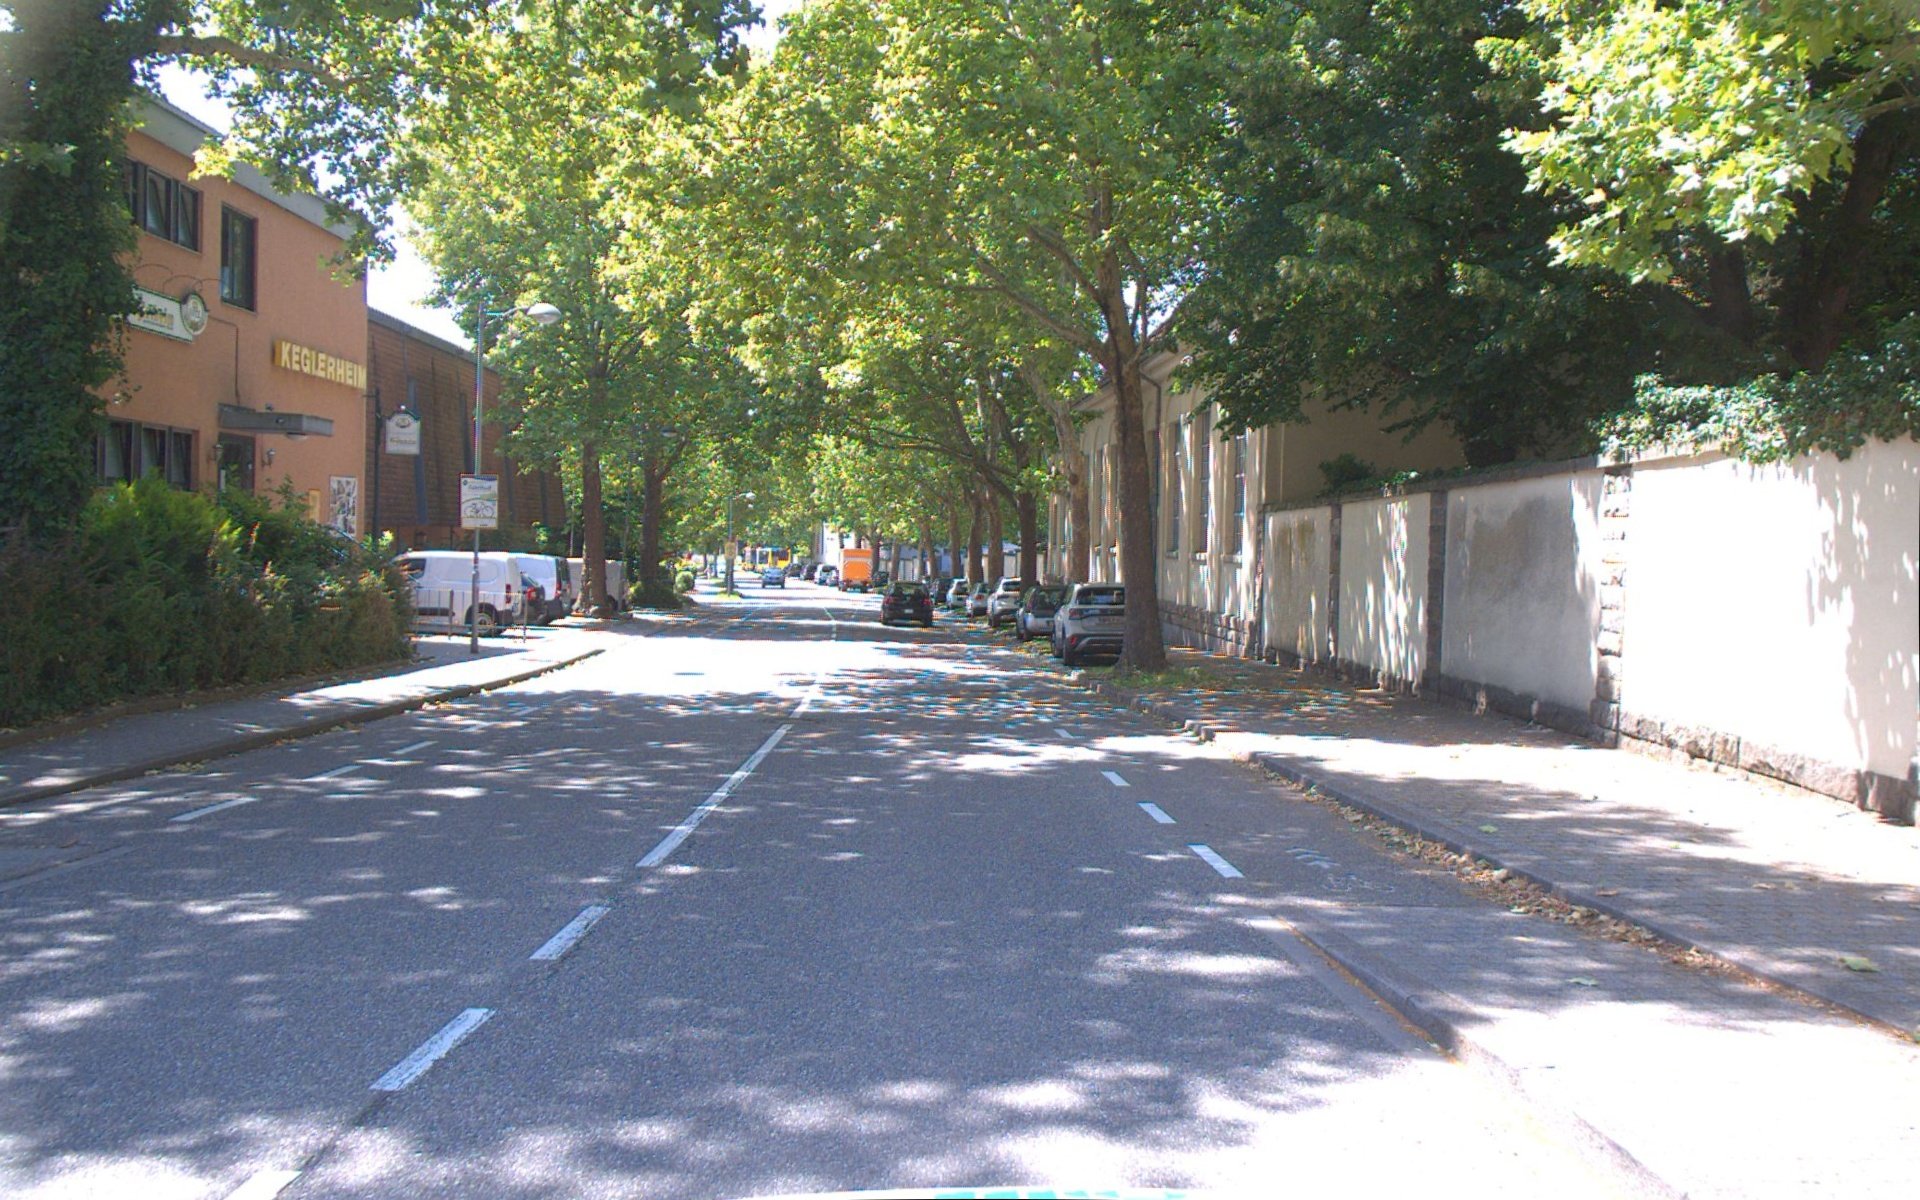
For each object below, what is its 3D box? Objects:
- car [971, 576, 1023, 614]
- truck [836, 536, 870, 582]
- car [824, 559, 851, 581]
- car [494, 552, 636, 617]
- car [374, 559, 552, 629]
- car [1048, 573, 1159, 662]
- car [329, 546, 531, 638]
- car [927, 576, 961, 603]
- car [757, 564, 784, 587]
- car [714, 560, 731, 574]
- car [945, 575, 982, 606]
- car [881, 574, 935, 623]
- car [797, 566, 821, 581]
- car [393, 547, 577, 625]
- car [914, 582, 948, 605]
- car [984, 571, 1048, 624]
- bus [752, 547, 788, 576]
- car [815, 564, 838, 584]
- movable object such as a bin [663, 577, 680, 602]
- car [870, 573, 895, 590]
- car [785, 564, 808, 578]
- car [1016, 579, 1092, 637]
[{"bbox_3d":[1.464,-0.221,67.116,1.732,1.458,3.872,0,1,-4],"label":"car"},{"bbox_3d":[-7.956,-2.973,122.447,2.324,3.189,5.762,1,-1,-5],"label":"truck"},{"bbox_3d":[-10.404,-2.560,140.163,1.845,1.715,3.990,1,-1,-10],"label":"car"},{"bbox_3d":[-12.403,-0.486,52.102,4.049,1.835,1.901,3,0,-6],"label":"car"},{"bbox_3d":[-12.405,-0.155,41.489,3.910,1.541,1.866,3,0,-6],"label":"car"},{"bbox_3d":[2.800,0.290,33.187,1.706,1.584,4.779,-1,1,-1],"label":"car"},{"bbox_3d":[-11.753,-0.174,36.902,3.910,1.824,1.866,3,0,-6],"label":"car"},{"bbox_3d":[-0.931,-0.640,94.215,1.732,1.491,3.872,0,1,-4],"label":"car"},{"bbox_3d":[-14.969,-1.951,130.547,1.957,1.695,3.991,1,-1,-9],"label":"car"},{"bbox_3d":[-26.147,-3.653,182.078,1.680,1.473,4.048,0,1,-10],"label":"car"},{"bbox_3d":[0.167,-0.490,81.556,1.546,1.491,3.872,0,1,-4],"label":"car"},{"bbox_3d":[-1.763,-0.074,55.136,1.677,1.472,4.056,1,2,-3],"label":"car"},{"bbox_3d":[-14.668,-2.545,160.641,1.738,1.398,3.714,-1,1,-15],"label":"car"},{"bbox_3d":[-12.547,-0.376,43.916,4.338,1.835,1.901,3,0,-6],"label":"car"},{"bbox_3d":[-1.855,-0.447,103.873,1.733,1.398,3.724,0,1,-7],"label":"car"},{"bbox_3d":[1.871,-0.118,56.473,1.772,1.718,4.749,0,1,-3],"label":"car"},{"bbox_3d":[-22.458,-4.511,195.164,2.619,3.205,11.153,0,0,-15],"label":"bus"},{"bbox_3d":[-11.951,-2.303,147.615,1.844,1.715,3.993,1,-1,-8],"label":"car"},{"bbox_3d":[-12.283,-0.440,70.375,0.611,1.066,0.620,1,1,0],"label":"movable object such as a bin"},{"bbox_3d":[-6.531,-1.533,139.103,1.733,1.398,3.724,1,0,-7],"label":"car"},{"bbox_3d":[-16.960,-3.030,171.394,1.737,1.398,3.715,-1,1,-15],"label":"car"},{"bbox_3d":[2.488,0.185,44.761,1.589,1.465,4.430,0,1,-3],"label":"car"}]
